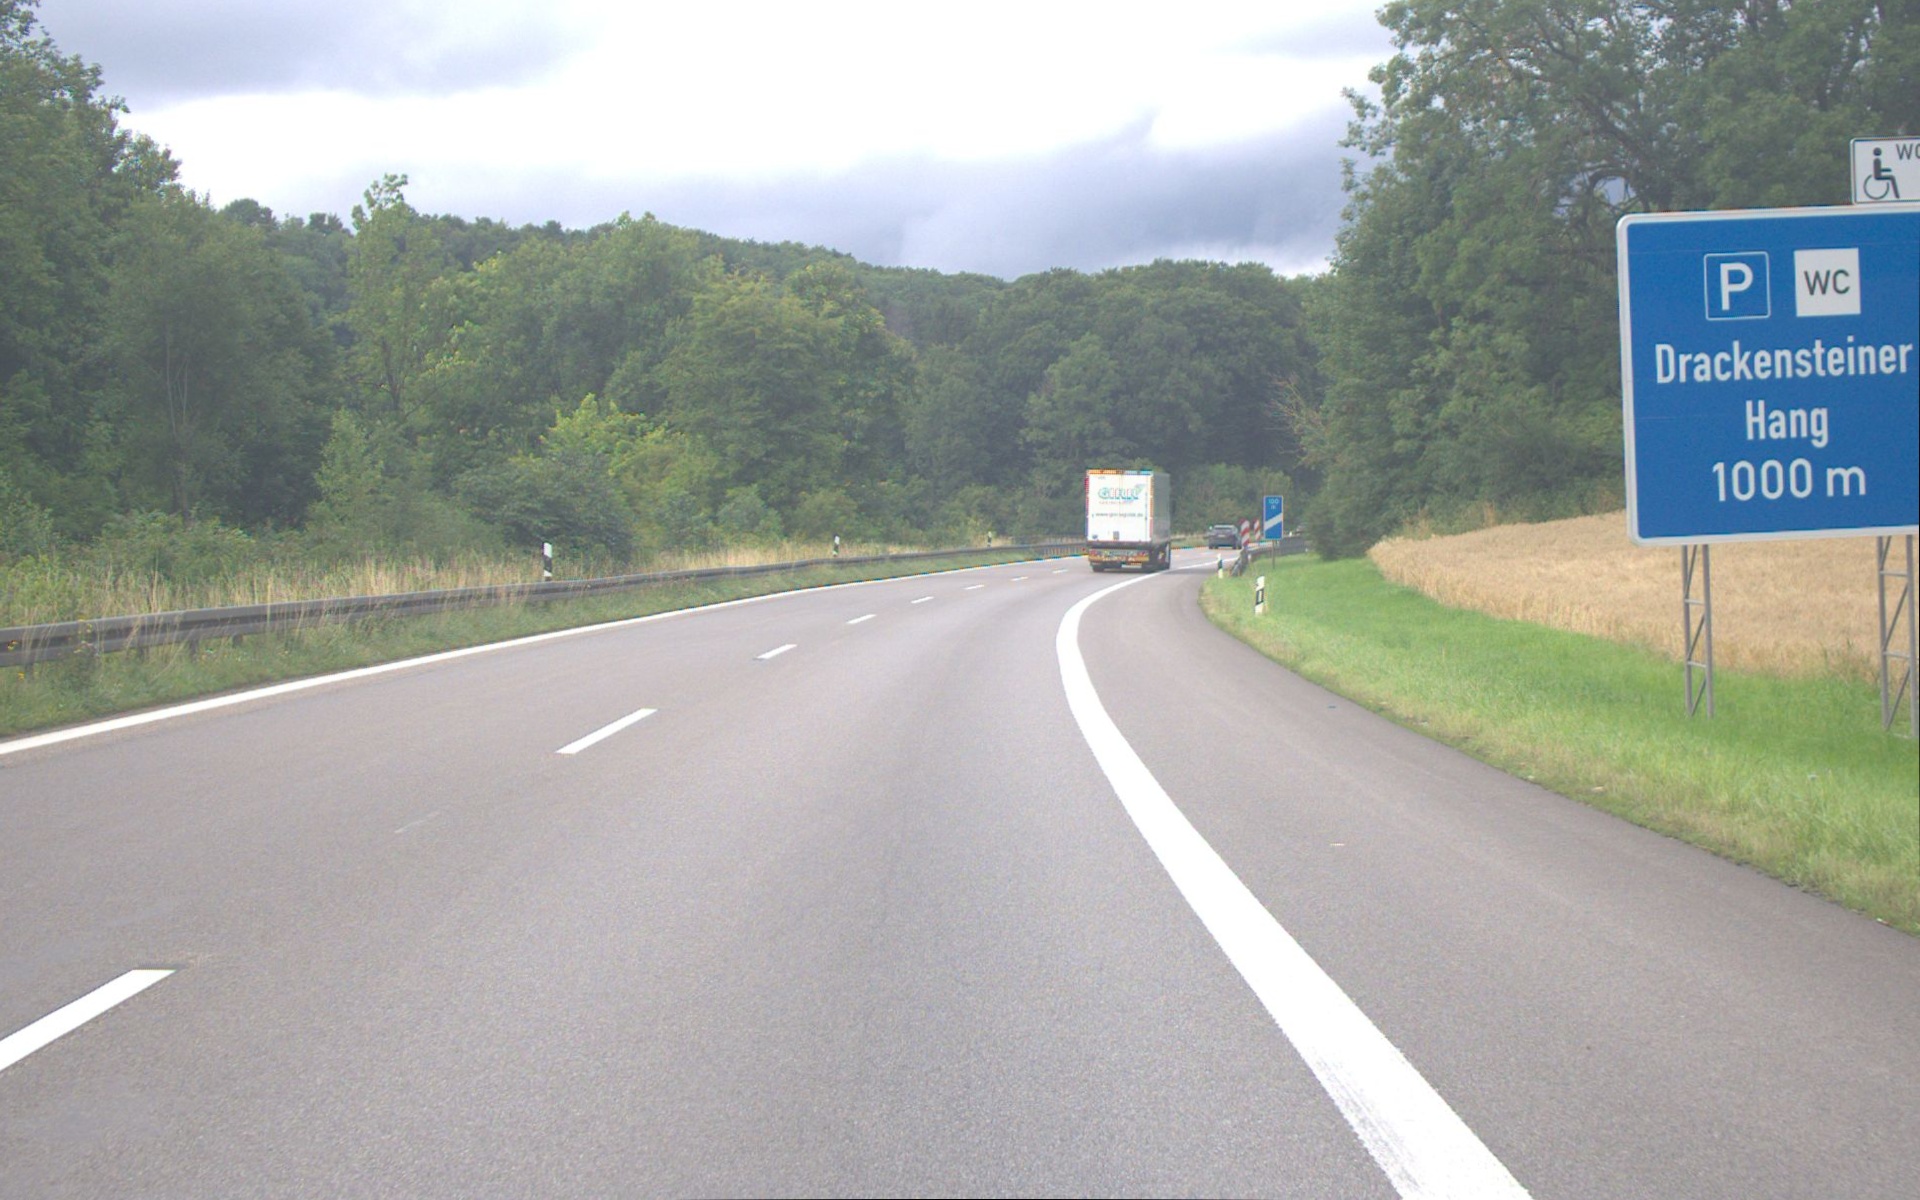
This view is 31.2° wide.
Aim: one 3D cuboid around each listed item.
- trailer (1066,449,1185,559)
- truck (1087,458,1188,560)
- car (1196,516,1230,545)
[{"bbox_3d":[6.801,-3.753,138.529,3.806,4.160,14.805,1,1,6],"label":"trailer"},{"bbox_3d":[7.577,-3.797,145.518,3.788,4.118,8.263,1,0,6],"label":"truck"},{"bbox_3d":[16.766,-4.607,227.715,1.903,1.789,3.999,1,0,9],"label":"car"}]
